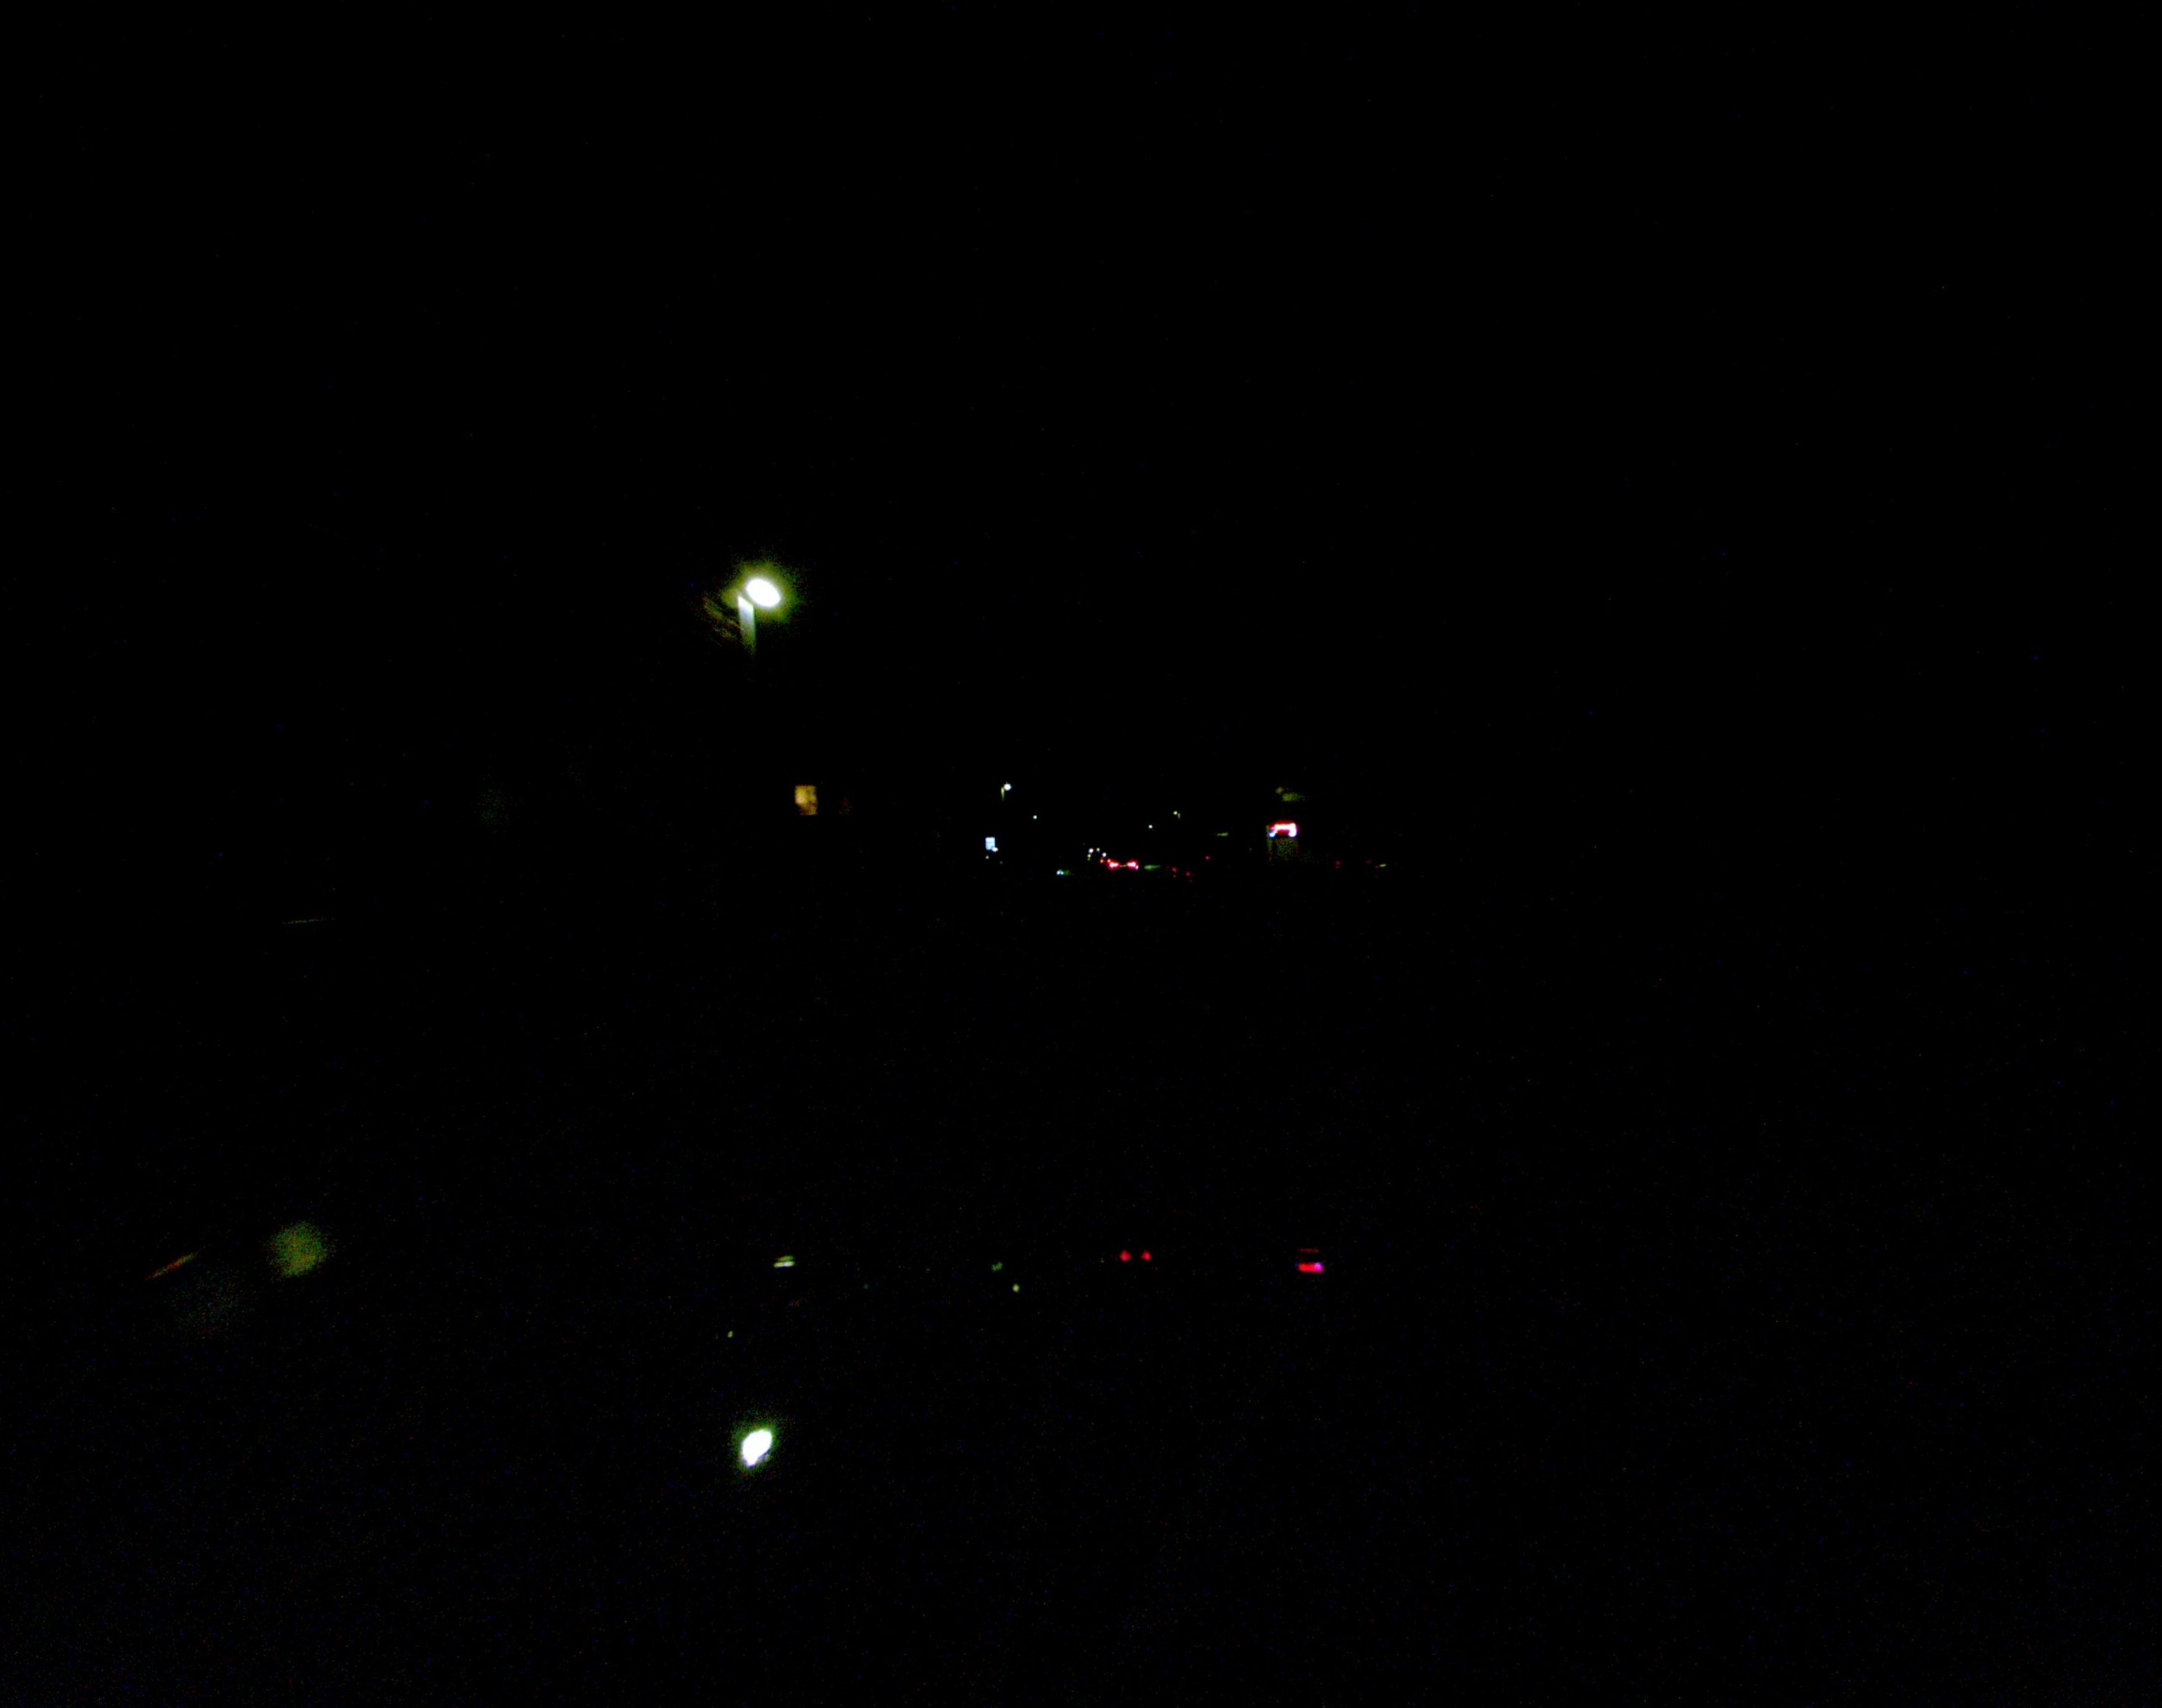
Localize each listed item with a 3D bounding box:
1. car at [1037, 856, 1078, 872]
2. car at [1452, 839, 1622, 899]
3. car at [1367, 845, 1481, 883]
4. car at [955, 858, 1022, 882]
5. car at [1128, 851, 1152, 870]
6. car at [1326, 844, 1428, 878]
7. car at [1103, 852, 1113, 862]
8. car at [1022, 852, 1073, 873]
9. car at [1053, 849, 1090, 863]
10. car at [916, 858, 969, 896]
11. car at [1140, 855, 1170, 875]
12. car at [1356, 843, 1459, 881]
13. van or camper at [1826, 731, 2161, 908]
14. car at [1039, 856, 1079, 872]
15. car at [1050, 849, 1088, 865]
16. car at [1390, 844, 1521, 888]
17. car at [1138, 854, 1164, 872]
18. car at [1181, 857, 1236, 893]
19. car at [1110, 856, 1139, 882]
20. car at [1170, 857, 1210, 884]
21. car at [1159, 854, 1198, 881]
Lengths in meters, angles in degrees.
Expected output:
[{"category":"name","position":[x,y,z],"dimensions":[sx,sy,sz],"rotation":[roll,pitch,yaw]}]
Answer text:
[{"category":"car","position":[-2.302,0.966,74.641],"dimensions":[3.926,1.505,1.854],"rotation":[-1,1,0]},{"category":"car","position":[13.651,0.444,22.869],"dimensions":[3.999,1.693,1.947],"rotation":[1,0,-6]},{"category":"car","position":[14.746,0.415,32.881],"dimensions":[3.996,1.455,2.000],"rotation":[-3,0,2]},{"category":"car","position":[-5.729,0.995,47.325],"dimensions":[3.914,1.477,1.832],"rotation":[0,0,1]},{"category":"car","position":[6.419,0.689,82.661],"dimensions":[2.121,1.935,4.887],"rotation":[-3,0,-1]},{"category":"car","position":[14.897,0.342,38.399],"dimensions":[4.325,1.552,2.028],"rotation":[-2,0,-6]},{"category":"car","position":[5.165,0.588,146.971],"dimensions":[1.724,1.705,3.960],"rotation":[-2,0,-1]},{"category":"car","position":[-3.014,0.755,69.246],"dimensions":[4.363,1.805,2.032],"rotation":[-1,0,7]},{"category":"car","position":[-1.376,0.264,107.542],"dimensions":[5.156,1.834,2.260],"rotation":[-1,0,1]},{"category":"car","position":[-6.124,0.963,33.931],"dimensions":[1.643,1.551,3.678],"rotation":[-1,0,0]},{"category":"car","position":[6.883,0.962,71.018],"dimensions":[2.121,1.539,4.475],"rotation":[-5,1,-1]},{"category":"car","position":[15.338,0.364,35.834],"dimensions":[3.995,1.608,2.001],"rotation":[-2,0,4]},{"category":"van or camper","position":[17.766,-0.583,14.057],"dimensions":[2.080,2.731,5.929],"rotation":[-2,0,0]},{"category":"car","position":[-2.320,1.062,80.478],"dimensions":[3.924,1.542,1.988],"rotation":[-1,0,6]},{"category":"car","position":[-1.633,0.397,104.604],"dimensions":[5.156,2.084,2.260],"rotation":[-1,0,1]},{"category":"car","position":[14.508,0.444,29.624],"dimensions":[4.125,1.652,2.000],"rotation":[0,0,2]},{"category":"car","position":[6.971,0.840,76.219],"dimensions":[2.121,1.660,4.169],"rotation":[-2,0,-1]},{"category":"car","position":[5.675,0.891,34.284],"dimensions":[1.753,1.460,4.009],"rotation":[-2,0,0]},{"category":"car","position":[3.169,1.052,55.896],"dimensions":[2.008,1.738,4.559],"rotation":[-2,0,2]},{"category":"car","position":[6.341,0.911,44.601],"dimensions":[1.775,1.460,3.966],"rotation":[-2,0,0]},{"category":"car","position":[6.390,0.840,50.038],"dimensions":[1.933,1.627,4.470],"rotation":[-3,0,0]}]
